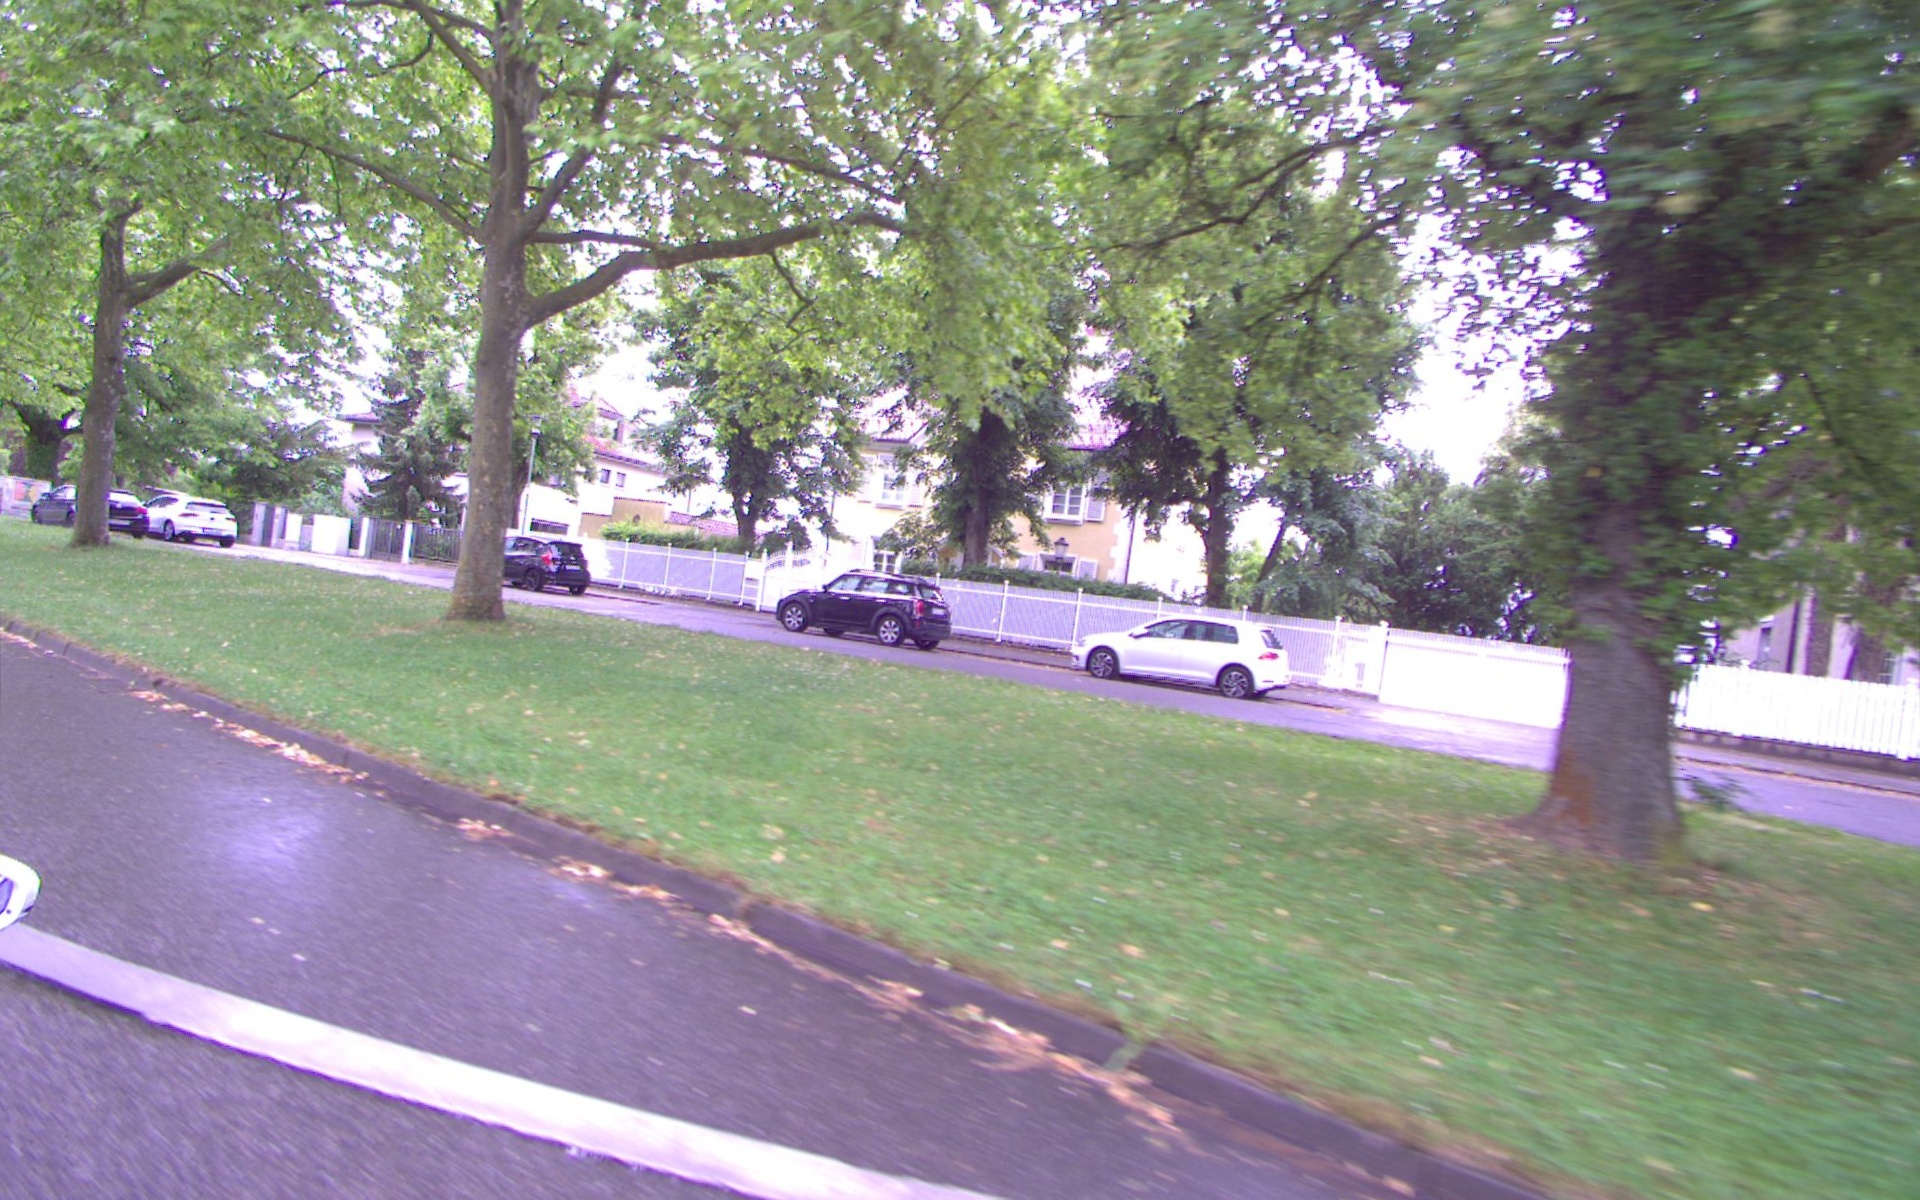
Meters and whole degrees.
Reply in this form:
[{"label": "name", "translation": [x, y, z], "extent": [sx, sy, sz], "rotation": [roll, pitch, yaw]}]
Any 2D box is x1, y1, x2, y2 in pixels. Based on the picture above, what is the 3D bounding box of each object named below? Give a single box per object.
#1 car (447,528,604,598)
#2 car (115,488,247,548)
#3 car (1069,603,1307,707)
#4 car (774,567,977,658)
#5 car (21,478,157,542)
[{"label": "car", "translation": [-12.490, -1.081, 28.884], "extent": [4.281, 1.489, 1.764], "rotation": [6, -1, 28]}, {"label": "car", "translation": [-25.292, -2.664, 32.634], "extent": [4.351, 1.490, 1.847], "rotation": [6, 1, 30]}, {"label": "car", "translation": [4.474, 1.076, 19.756], "extent": [4.053, 1.465, 1.999], "rotation": [6, -2, 28]}, {"label": "car", "translation": [-1.936, 0.281, 22.988], "extent": [4.053, 1.488, 1.999], "rotation": [6, -2, 28]}, {"label": "car", "translation": [-26.362, -2.730, 30.404], "extent": [4.521, 1.490, 1.765], "rotation": [6, 1, 31]}]
